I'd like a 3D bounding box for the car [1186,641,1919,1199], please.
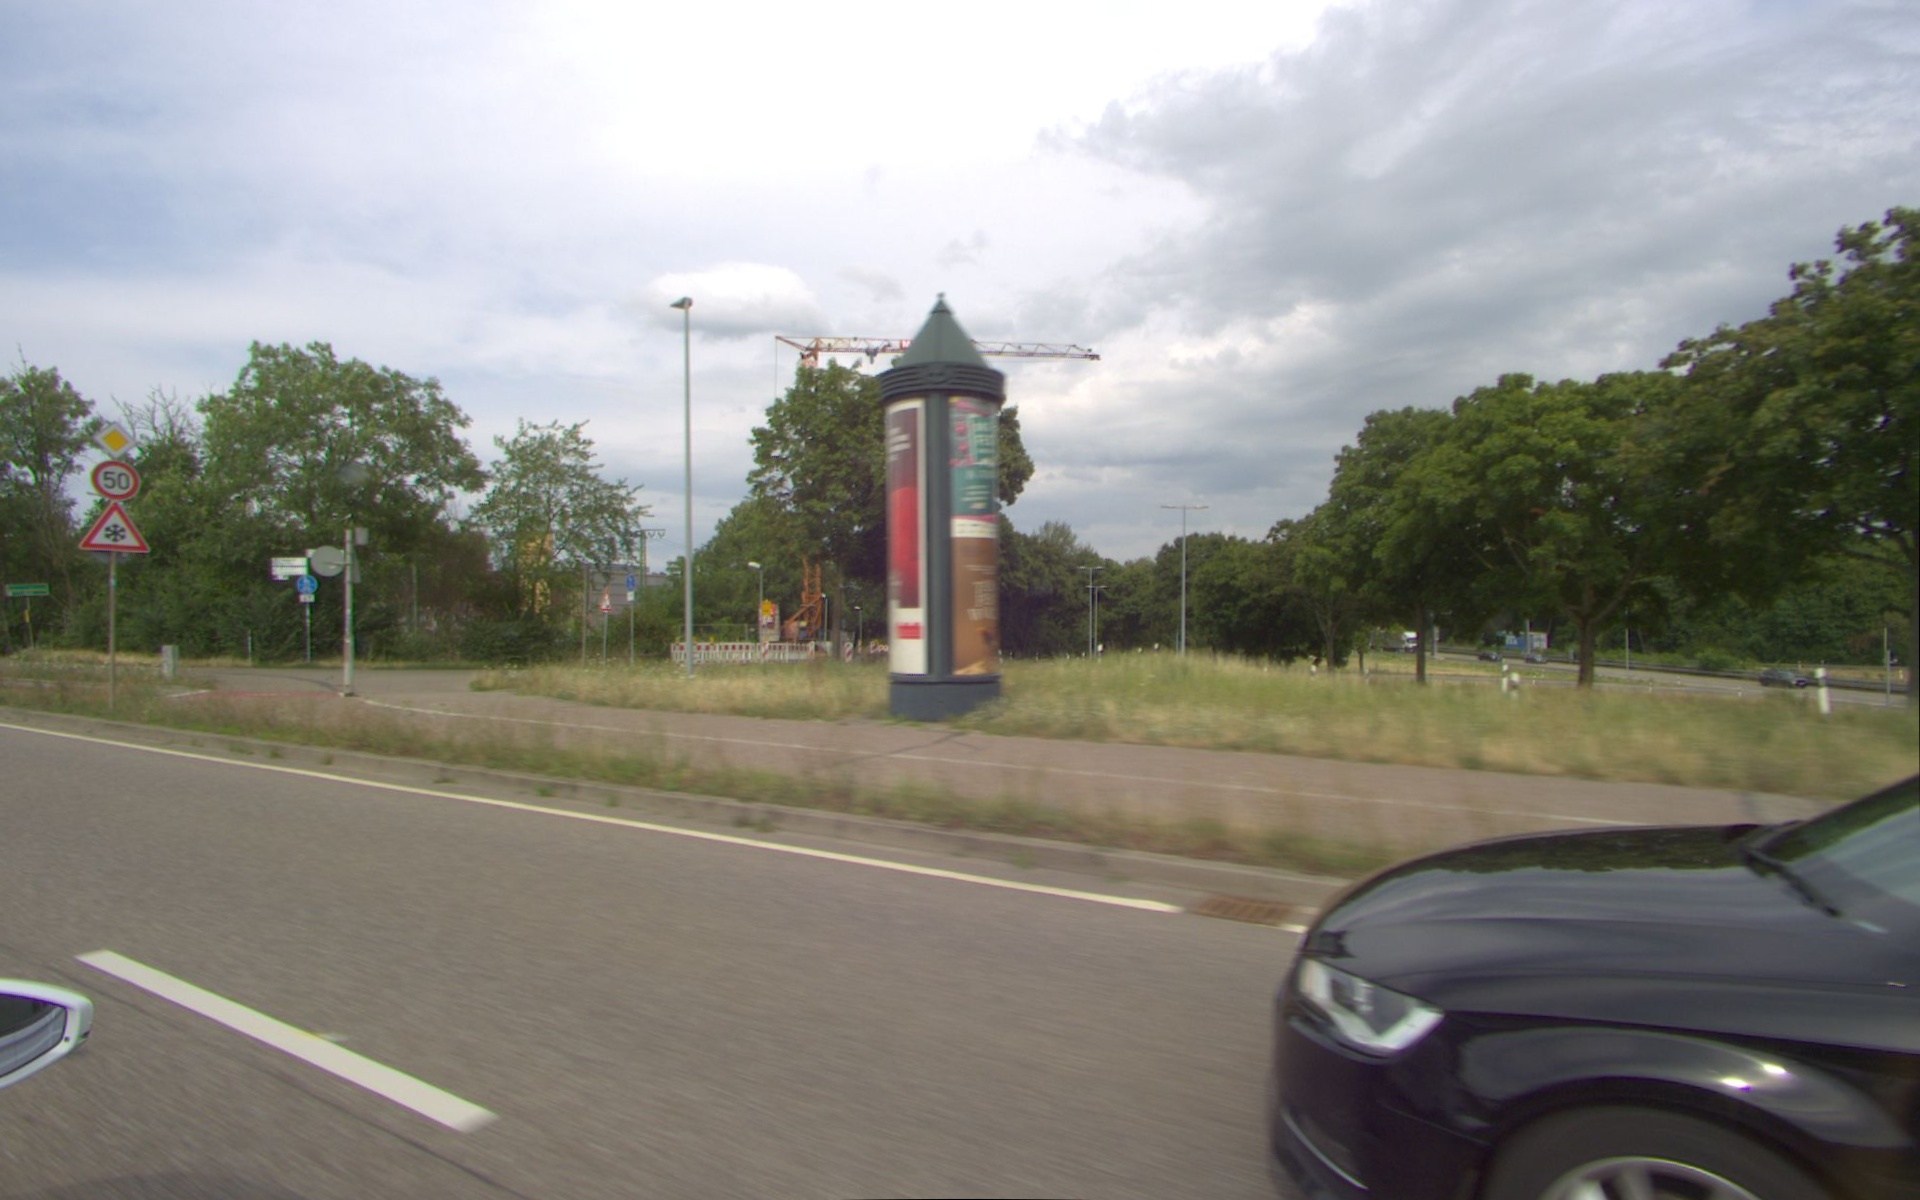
[{"bbox_3d":[2.658,0.828,1.865,4.054,1.413,1.728,0,-1,31],"label":"car"}]
